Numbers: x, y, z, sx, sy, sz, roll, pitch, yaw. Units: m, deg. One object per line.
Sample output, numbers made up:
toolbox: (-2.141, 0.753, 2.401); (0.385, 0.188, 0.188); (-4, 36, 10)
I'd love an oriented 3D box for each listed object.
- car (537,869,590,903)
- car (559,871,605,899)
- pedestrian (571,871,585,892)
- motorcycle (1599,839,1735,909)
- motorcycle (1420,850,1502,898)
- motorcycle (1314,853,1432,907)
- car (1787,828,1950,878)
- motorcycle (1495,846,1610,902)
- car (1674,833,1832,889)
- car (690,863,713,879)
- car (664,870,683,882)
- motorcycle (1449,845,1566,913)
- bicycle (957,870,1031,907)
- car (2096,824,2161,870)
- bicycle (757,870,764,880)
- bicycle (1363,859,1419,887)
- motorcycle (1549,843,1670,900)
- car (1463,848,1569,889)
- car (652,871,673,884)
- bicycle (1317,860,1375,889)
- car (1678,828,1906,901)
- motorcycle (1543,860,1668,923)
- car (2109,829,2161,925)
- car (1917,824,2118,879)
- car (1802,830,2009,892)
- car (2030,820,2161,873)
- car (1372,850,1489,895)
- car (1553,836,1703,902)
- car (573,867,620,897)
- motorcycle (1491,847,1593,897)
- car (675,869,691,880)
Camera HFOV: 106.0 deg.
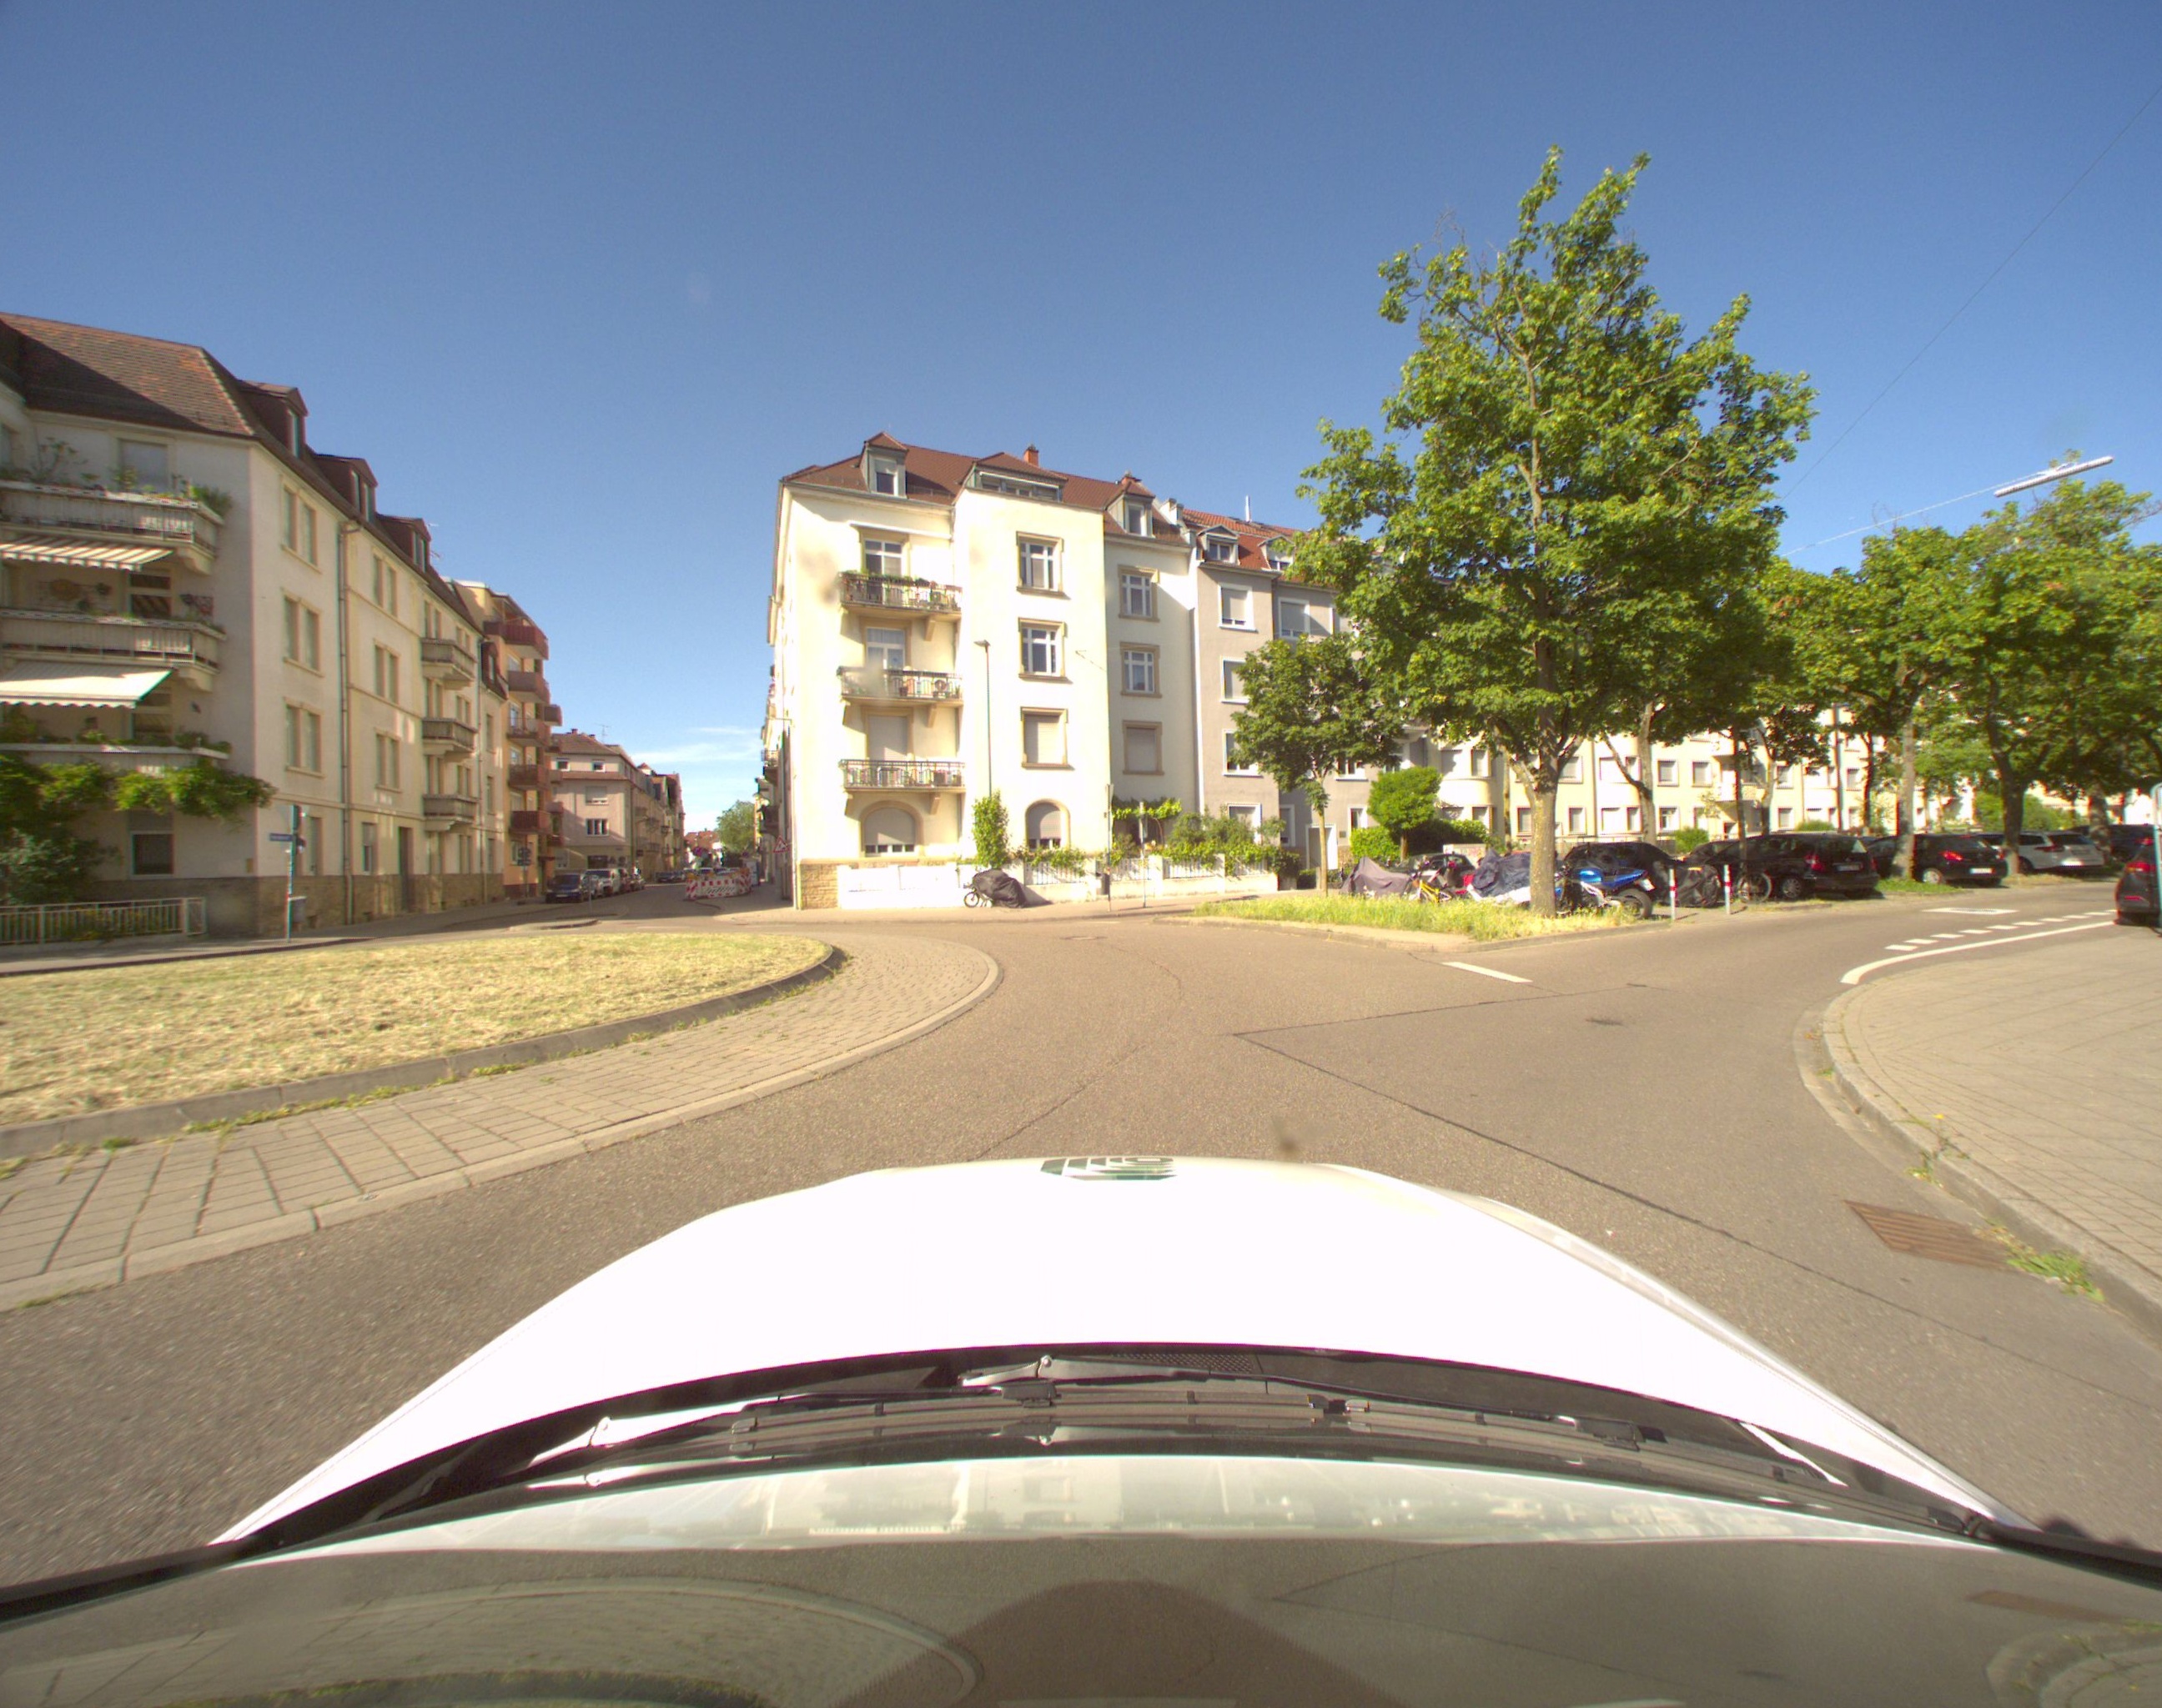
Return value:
car: (-28.616, 1.726, 45.171); (1.770, 1.771, 4.261); (-1, -1, -23)
car: (-30.593, 1.881, 50.069); (1.770, 1.621, 4.262); (-1, -1, -23)
pedestrian: (-42.889, 2.334, 69.435); (0.928, 1.817, 0.986); (0, -1, -26)
motorcycle: (12.641, 0.415, 17.648); (1.065, 1.392, 2.109); (-2, -1, -26)
motorcycle: (10.414, 0.554, 22.390); (0.891, 1.236, 1.879); (-1, -1, -24)
motorcycle: (7.449, 0.656, 20.965); (1.130, 1.267, 2.757); (-1, -1, -29)
car: (27.502, -0.013, 28.651); (1.873, 1.591, 4.001); (-2, -1, 1)
motorcycle: (11.496, 0.484, 19.945); (1.053, 1.267, 2.224); (-2, -1, -24)
car: (21.053, 0.213, 25.744); (1.695, 1.591, 4.001); (-2, -1, 1)
car: (-38.764, 1.760, 83.219); (1.846, 1.431, 3.999); (-3, -2, -22)
car: (-56.162, 3.071, 112.362); (2.012, 1.619, 4.452); (1, -2, -23)
motorcycle: (8.969, 0.513, 17.218); (0.865, 1.328, 2.036); (-1, -1, -27)
bicycle: (-2.814, 1.121, 26.302); (2.260, 1.157, 0.770); (-1, -1, 19)
car: (41.951, -0.305, 31.163); (1.866, 1.723, 4.017); (-2, -1, 16)
bicycle: (-42.788, 2.759, 108.674); (0.764, 1.246, 2.572); (-1, -1, -22)
bicycle: (12.782, 0.776, 33.562); (2.258, 1.059, 0.678); (-2, -1, -22)
motorcycle: (12.834, 0.424, 19.859); (1.053, 1.267, 2.224); (-2, -1, -24)
car: (16.989, 0.541, 31.785); (3.862, 1.445, 1.738); (-2, 0, -27)
car: (-49.319, 2.789, 96.107); (1.685, 1.427, 4.243); (1, -2, -21)
bicycle: (10.554, 0.793, 32.464); (2.258, 1.059, 0.678); (-2, -1, -22)
car: (17.470, 0.253, 20.319); (1.991, 1.598, 3.991); (-1, -1, -6)
motorcycle: (9.852, 0.669, 15.375); (0.815, 1.072, 1.830); (-2, 1, -24)
car: (18.148, 0.302, 13.063); (4.017, 1.411, 1.813); (-2, 1, -35)
car: (29.698, -0.064, 26.034); (1.771, 1.548, 3.997); (-2, 0, -2)
car: (23.510, 0.207, 23.472); (1.867, 1.598, 3.999); (-1, -1, -1)
car: (35.922, -0.257, 28.306); (1.866, 1.723, 4.017); (-2, -1, 16)
car: (12.701, 0.662, 29.587); (3.964, 1.445, 1.738); (-2, -2, -27)
car: (15.158, 0.391, 22.854); (1.789, 1.640, 3.881); (-2, 0, 4)
car: (-32.702, 1.836, 55.078); (1.984, 1.925, 5.268); (-1, -1, -23)
motorcycle: (12.634, 0.490, 22.419); (1.053, 1.267, 2.224); (-2, -1, -24)
car: (-61.088, 3.209, 125.100); (2.012, 1.619, 4.452); (1, -2, -23)
